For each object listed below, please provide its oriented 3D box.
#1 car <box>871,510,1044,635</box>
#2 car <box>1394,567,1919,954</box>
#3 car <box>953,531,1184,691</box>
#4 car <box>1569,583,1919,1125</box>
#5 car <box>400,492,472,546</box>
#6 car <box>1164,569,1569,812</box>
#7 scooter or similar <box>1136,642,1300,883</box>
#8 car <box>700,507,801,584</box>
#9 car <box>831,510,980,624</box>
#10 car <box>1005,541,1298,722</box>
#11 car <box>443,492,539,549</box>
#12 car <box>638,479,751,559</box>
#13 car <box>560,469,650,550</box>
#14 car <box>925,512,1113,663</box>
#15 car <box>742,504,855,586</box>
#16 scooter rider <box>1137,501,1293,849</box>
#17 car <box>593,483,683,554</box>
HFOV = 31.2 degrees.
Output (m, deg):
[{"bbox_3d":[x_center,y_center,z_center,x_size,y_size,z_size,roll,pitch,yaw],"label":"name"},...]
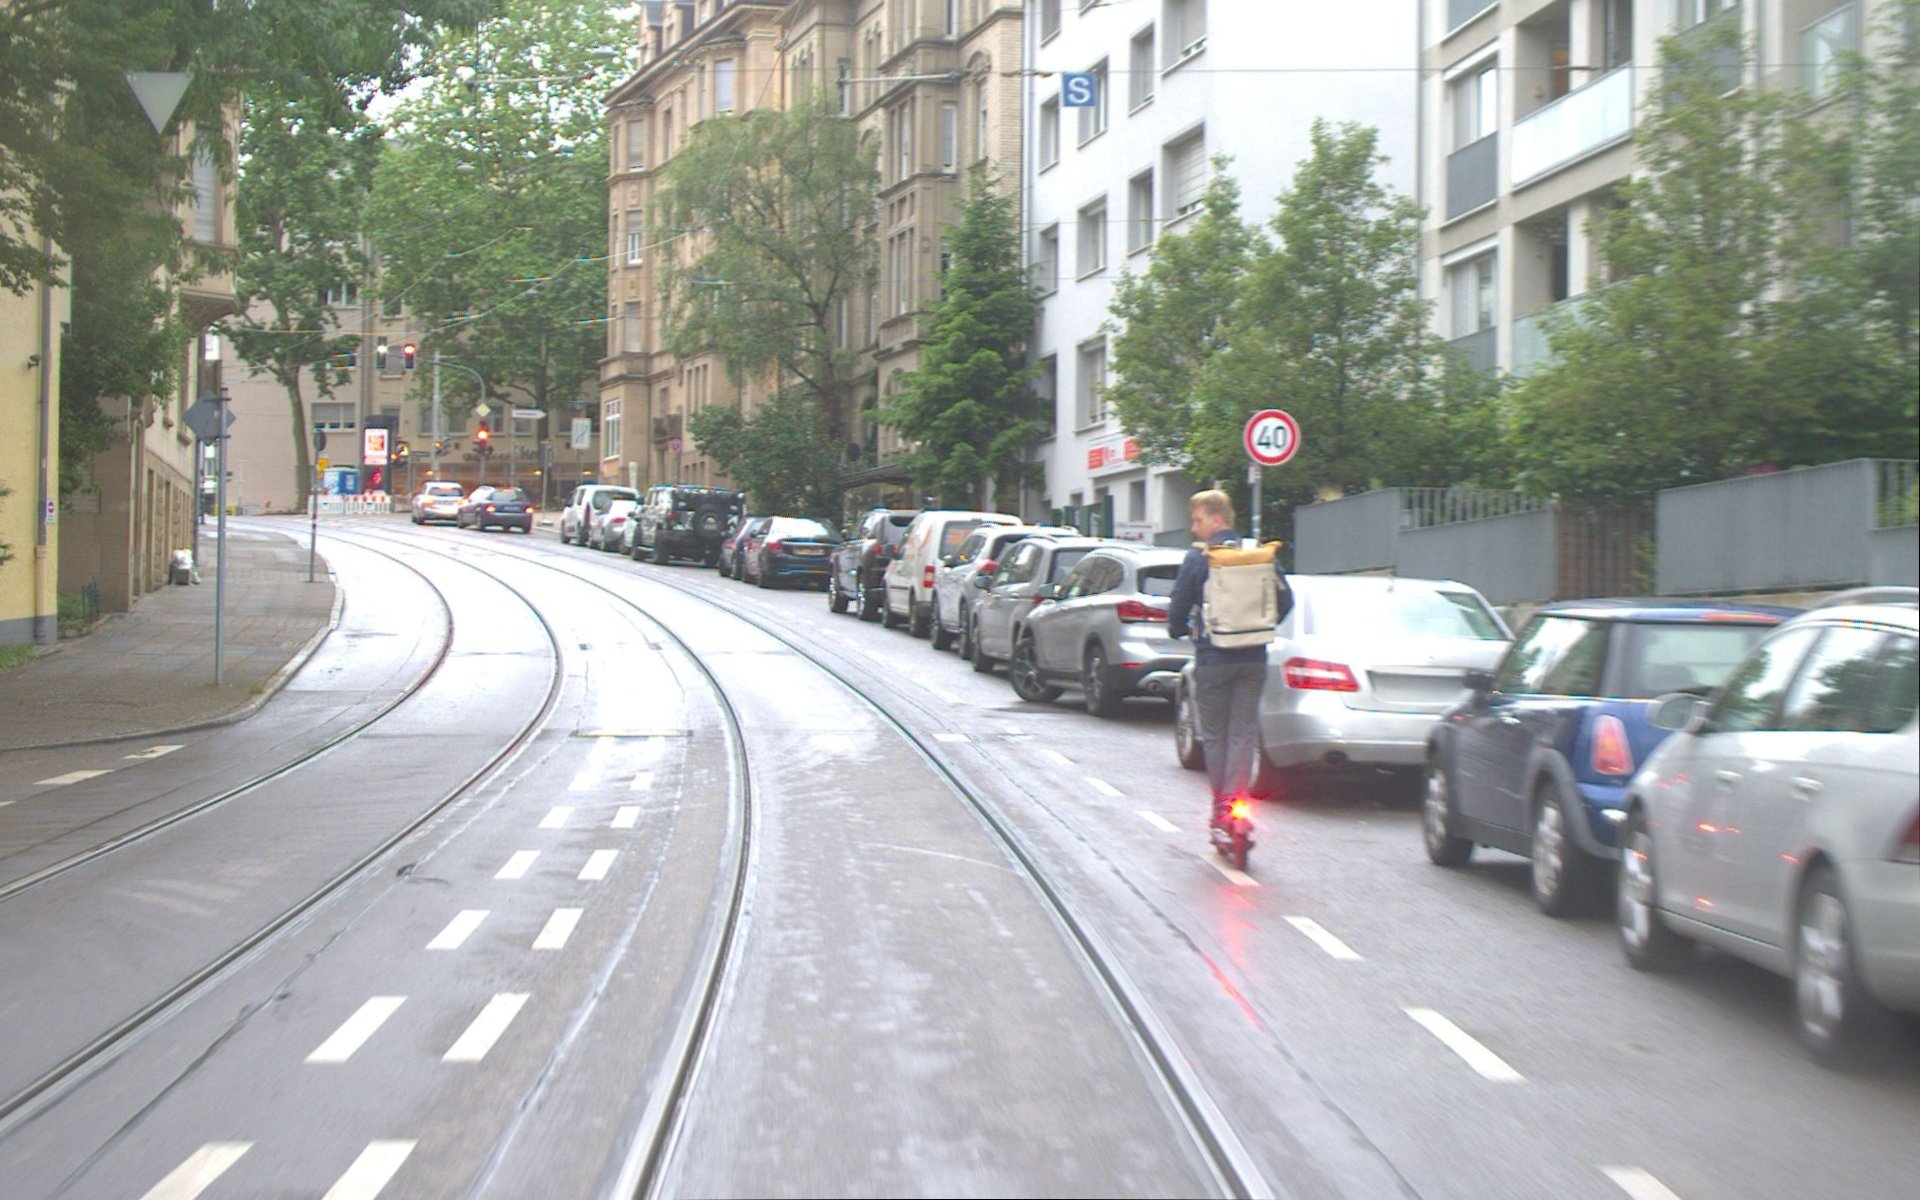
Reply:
[{"bbox_3d":[-0.085,-0.448,50.983,1.766,1.678,4.250,2,2,-10],"label":"car"},{"bbox_3d":[3.300,0.668,16.396,1.701,1.507,3.715,2,2,-4],"label":"car"},{"bbox_3d":[1.172,0.077,39.293,1.766,1.609,4.250,2,2,-10],"label":"car"},{"bbox_3d":[3.420,0.721,11.774,1.661,1.466,4.508,2,1,-2],"label":"car"},{"bbox_3d":[-18.043,-2.785,118.249,1.856,1.728,4.141,2,2,-16],"label":"car"},{"bbox_3d":[2.649,0.541,23.522,1.761,1.430,4.640,0,1,-6],"label":"car"},{"bbox_3d":[1.273,0.784,17.280,0.513,1.046,2.009,1,2,-4],"label":"scooter or similar"},{"bbox_3d":[-4.542,-1.193,74.132,1.649,1.530,3.890,-2,2,-11],"label":"car"},{"bbox_3d":[-0.934,-0.563,55.735,1.766,1.678,4.250,2,2,-9],"label":"car"},{"bbox_3d":[1.768,0.248,33.258,1.766,1.610,4.249,0,1,-12],"label":"car"},{"bbox_3d":[-15.445,-2.622,113.131,2.027,1.728,4.141,2,2,-23],"label":"car"},{"bbox_3d":[-6.485,-1.996,83.538,2.027,1.818,4.369,2,2,-13],"label":"car"},{"bbox_3d":[-10.295,-2.638,99.424,2.027,2.210,4.141,2,2,-13],"label":"car"},{"bbox_3d":[0.718,-0.206,44.849,1.766,1.781,4.249,2,2,-8],"label":"car"},{"bbox_3d":[-3.284,-1.124,69.382,1.766,1.512,4.141,2,2,-9],"label":"car"},{"bbox_3d":[1.277,0.359,17.356,0.623,1.700,0.844,1,2,-4],"label":"scooter rider"},{"bbox_3d":[-8.888,-2.264,94.671,2.027,1.818,4.141,2,2,-11],"label":"car"}]
